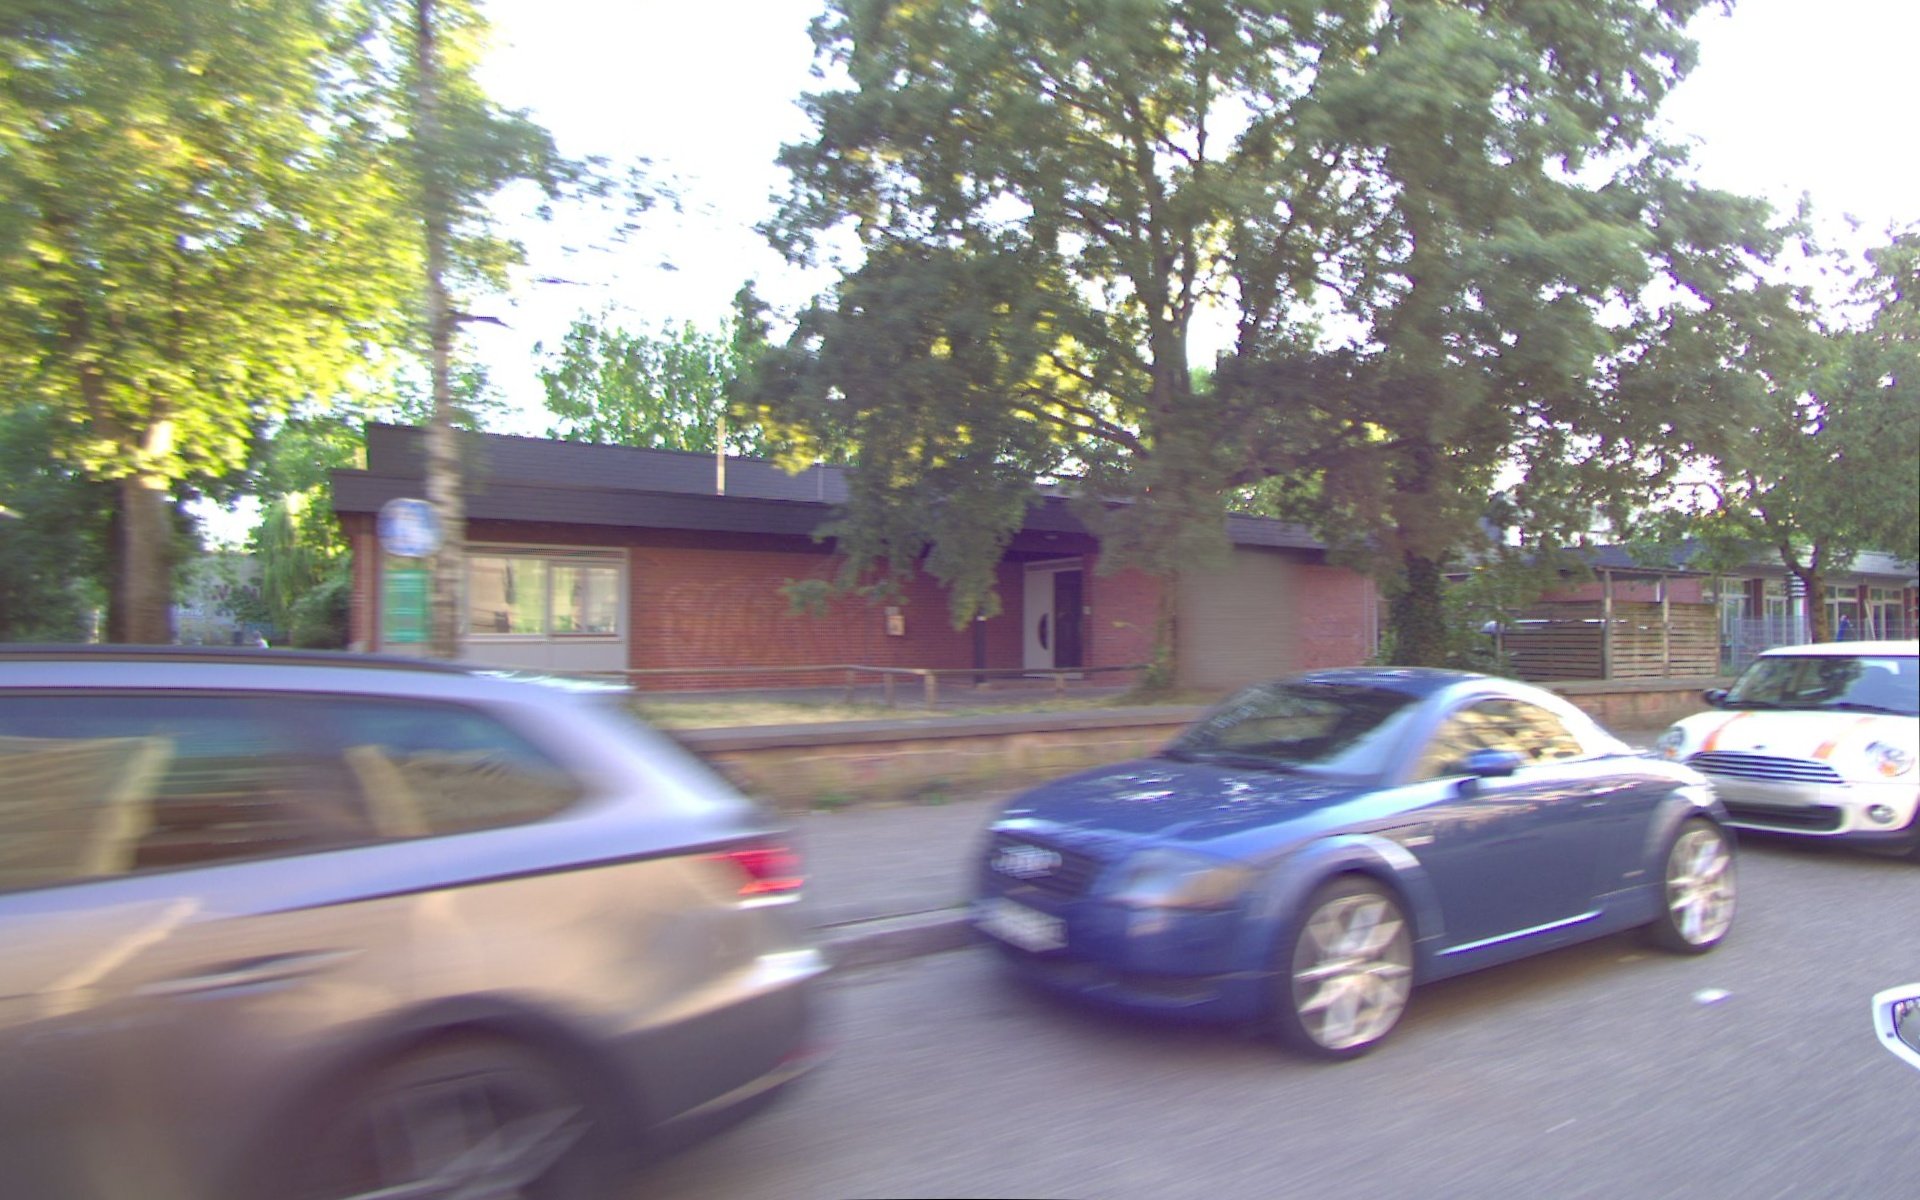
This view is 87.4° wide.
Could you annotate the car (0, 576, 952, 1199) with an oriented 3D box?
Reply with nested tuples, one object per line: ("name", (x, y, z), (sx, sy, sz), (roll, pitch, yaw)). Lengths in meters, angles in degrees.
("car", (-2.502, 0.772, 2.167), (4.703, 1.558, 1.851), (1, -3, -31))

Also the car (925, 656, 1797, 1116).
("car", (2.023, 0.954, 4.774), (4.105, 1.330, 1.652), (1, -3, -30))

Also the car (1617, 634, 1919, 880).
("car", (6.841, 1.021, 7.630), (3.761, 1.450, 1.593), (1, -5, -31))

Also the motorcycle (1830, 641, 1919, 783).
("motorcycle", (9.616, 1.076, 9.365), (0.865, 1.321, 2.164), (1, -1, -15))
